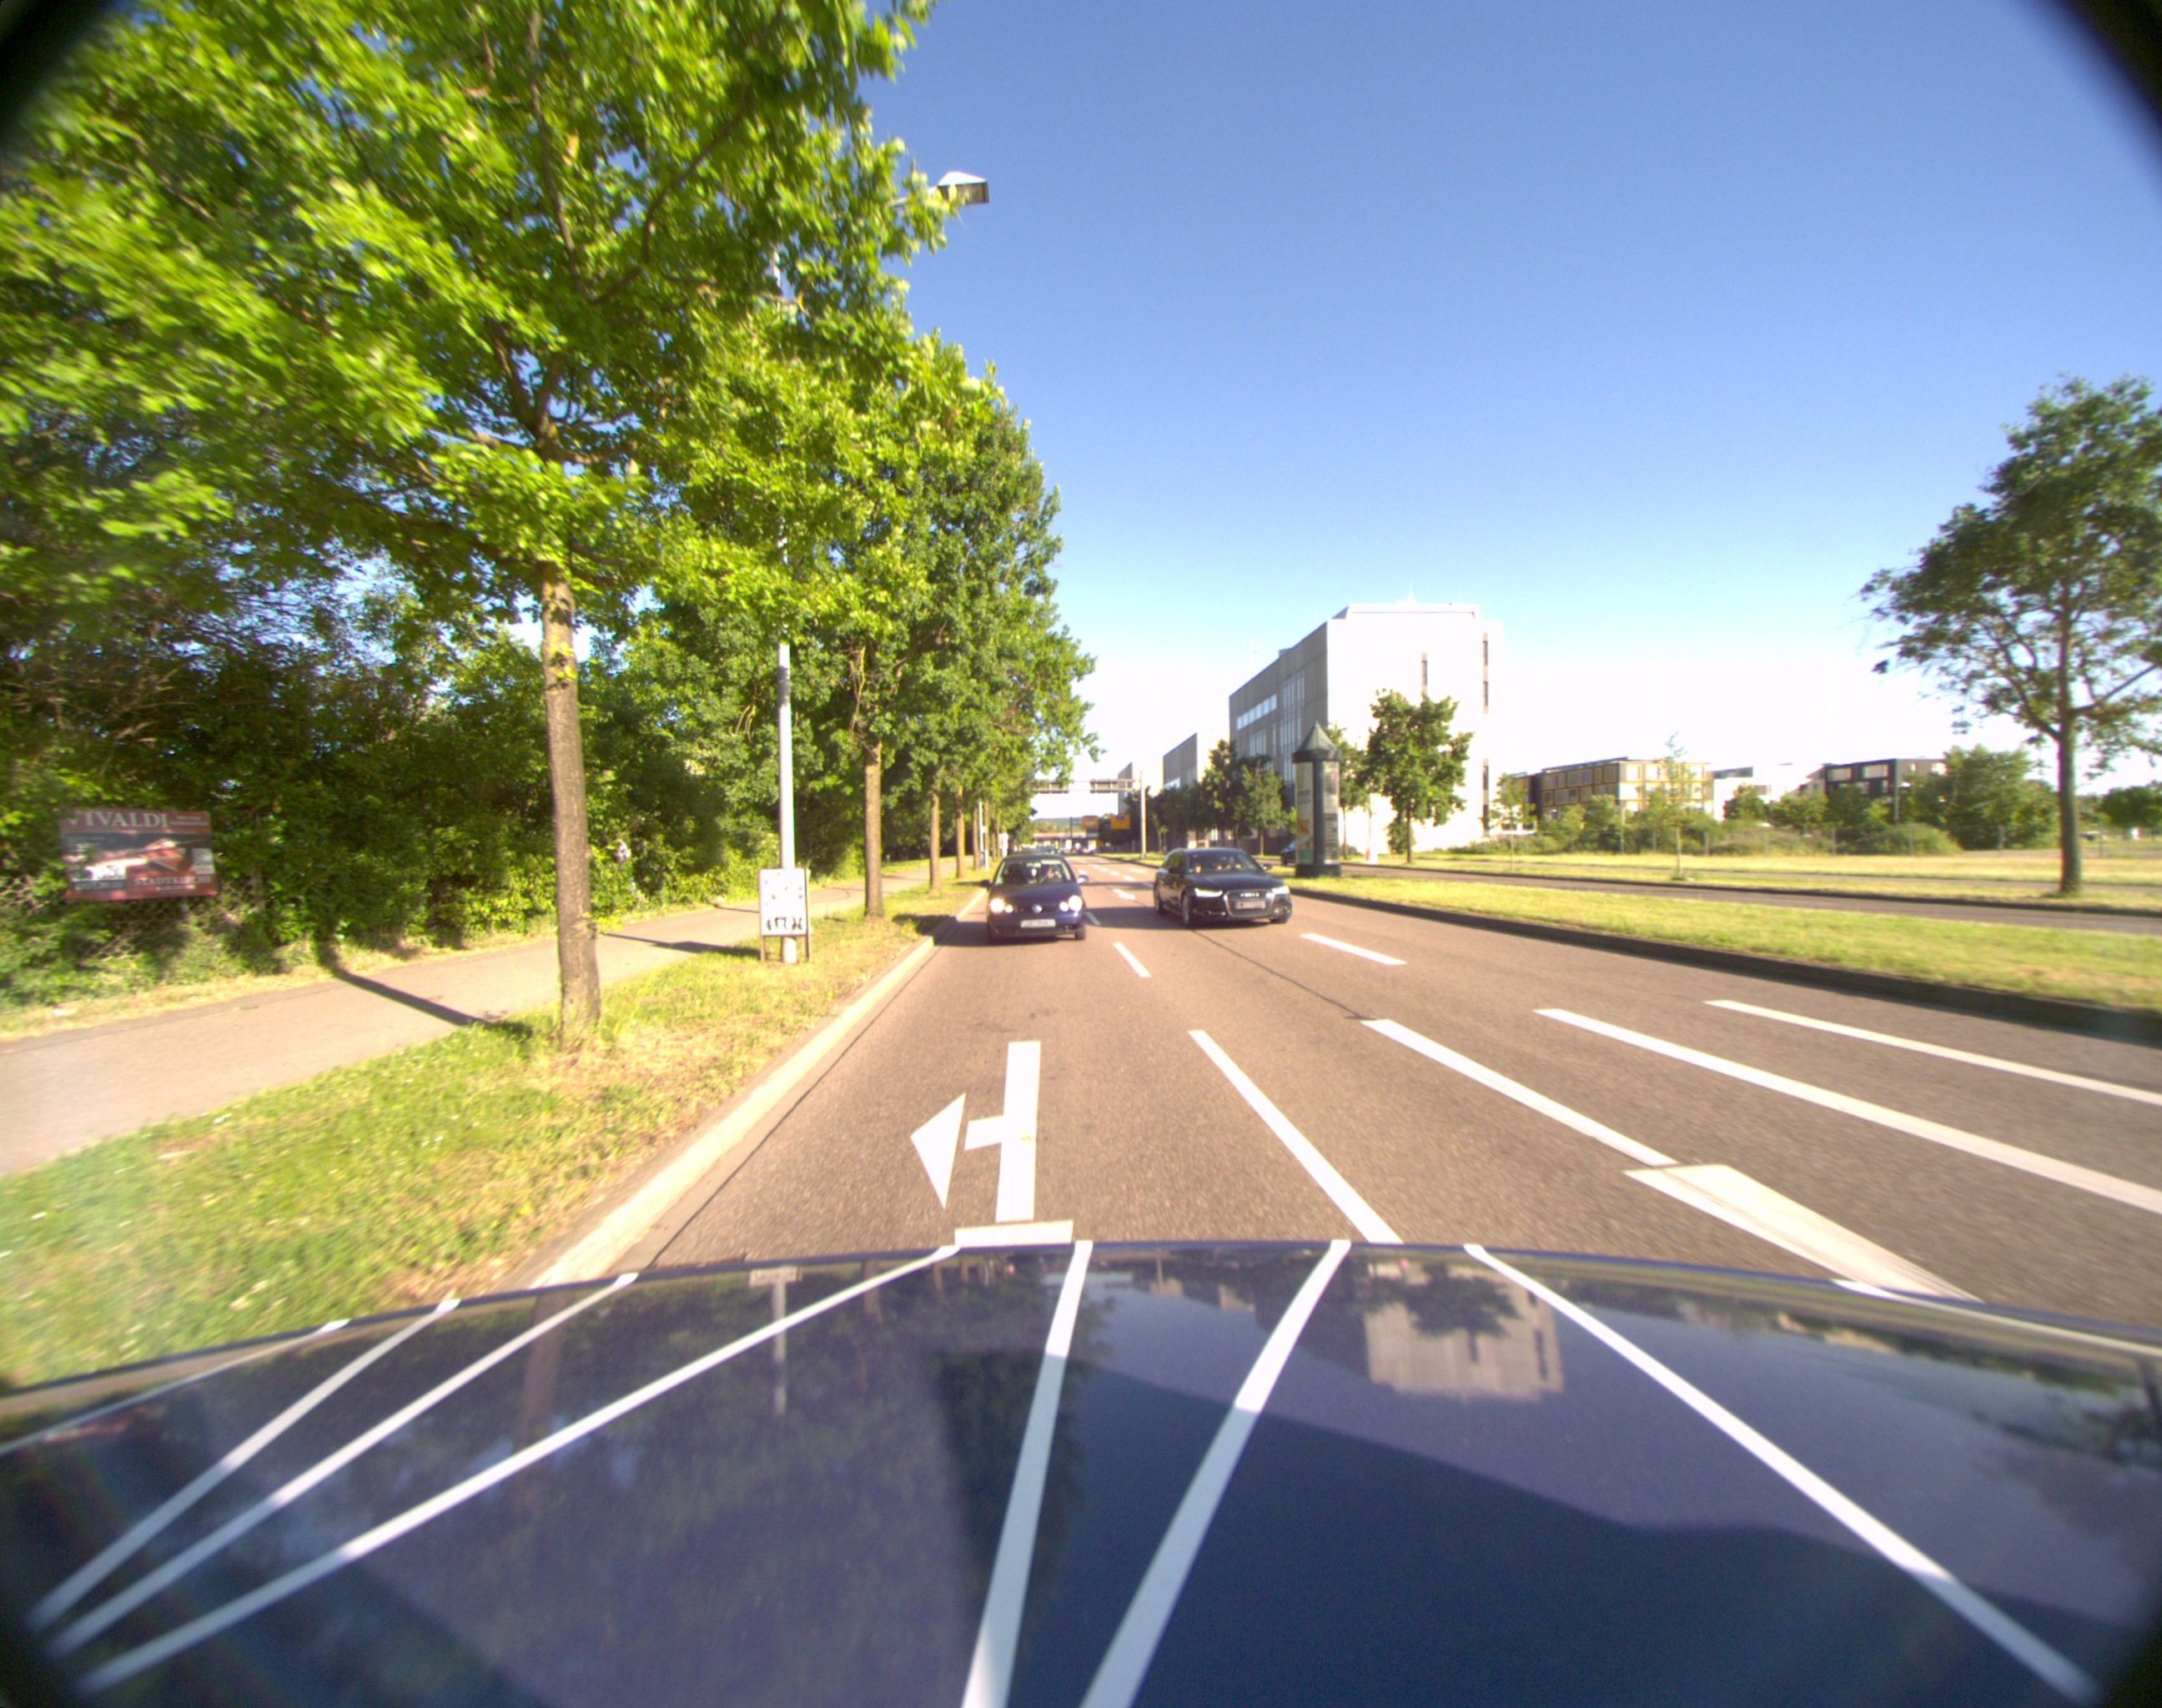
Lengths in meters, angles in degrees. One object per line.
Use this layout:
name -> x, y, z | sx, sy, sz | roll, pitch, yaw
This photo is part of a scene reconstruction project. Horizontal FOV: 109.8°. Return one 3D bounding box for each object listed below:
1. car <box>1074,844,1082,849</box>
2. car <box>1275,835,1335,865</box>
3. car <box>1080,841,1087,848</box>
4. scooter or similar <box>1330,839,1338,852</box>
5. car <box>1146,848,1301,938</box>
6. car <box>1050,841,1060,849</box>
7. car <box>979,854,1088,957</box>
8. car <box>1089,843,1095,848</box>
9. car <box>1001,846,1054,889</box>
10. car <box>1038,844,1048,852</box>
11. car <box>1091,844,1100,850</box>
car -> -0.875, -2.173, 220.617 | 1.999, 1.569, 3.998 | -1, 1, -3
car -> 13.746, -0.266, 46.949 | 1.999, 1.729, 4.735 | -1, 2, -4
car -> 0.757, -3.327, 260.426 | 1.999, 2.173, 3.998 | -1, 1, -3
scooter or similar -> 22.539, -0.766, 67.666 | 0.453, 1.104, 1.407 | -1, 2, 10
car -> 2.607, 0.630, 15.253 | 1.798, 1.435, 5.014 | -2, 1, -4
car -> -5.856, -1.972, 170.600 | 1.998, 1.678, 3.999 | -1, 1, 0
car -> -0.751, 0.802, 14.048 | 1.637, 1.459, 4.544 | -2, 1, 0
car -> 3.676, -2.907, 254.286 | 1.999, 1.582, 3.998 | -1, 1, -3
car -> -2.160, 0.464, 29.779 | 1.758, 1.446, 3.996 | -3, 2, -7
car -> -8.542, -1.361, 169.718 | 1.998, 1.678, 3.999 | -1, 1, 0
car -> 3.764, -1.844, 201.208 | 1.999, 1.569, 3.998 | -1, 1, -3
